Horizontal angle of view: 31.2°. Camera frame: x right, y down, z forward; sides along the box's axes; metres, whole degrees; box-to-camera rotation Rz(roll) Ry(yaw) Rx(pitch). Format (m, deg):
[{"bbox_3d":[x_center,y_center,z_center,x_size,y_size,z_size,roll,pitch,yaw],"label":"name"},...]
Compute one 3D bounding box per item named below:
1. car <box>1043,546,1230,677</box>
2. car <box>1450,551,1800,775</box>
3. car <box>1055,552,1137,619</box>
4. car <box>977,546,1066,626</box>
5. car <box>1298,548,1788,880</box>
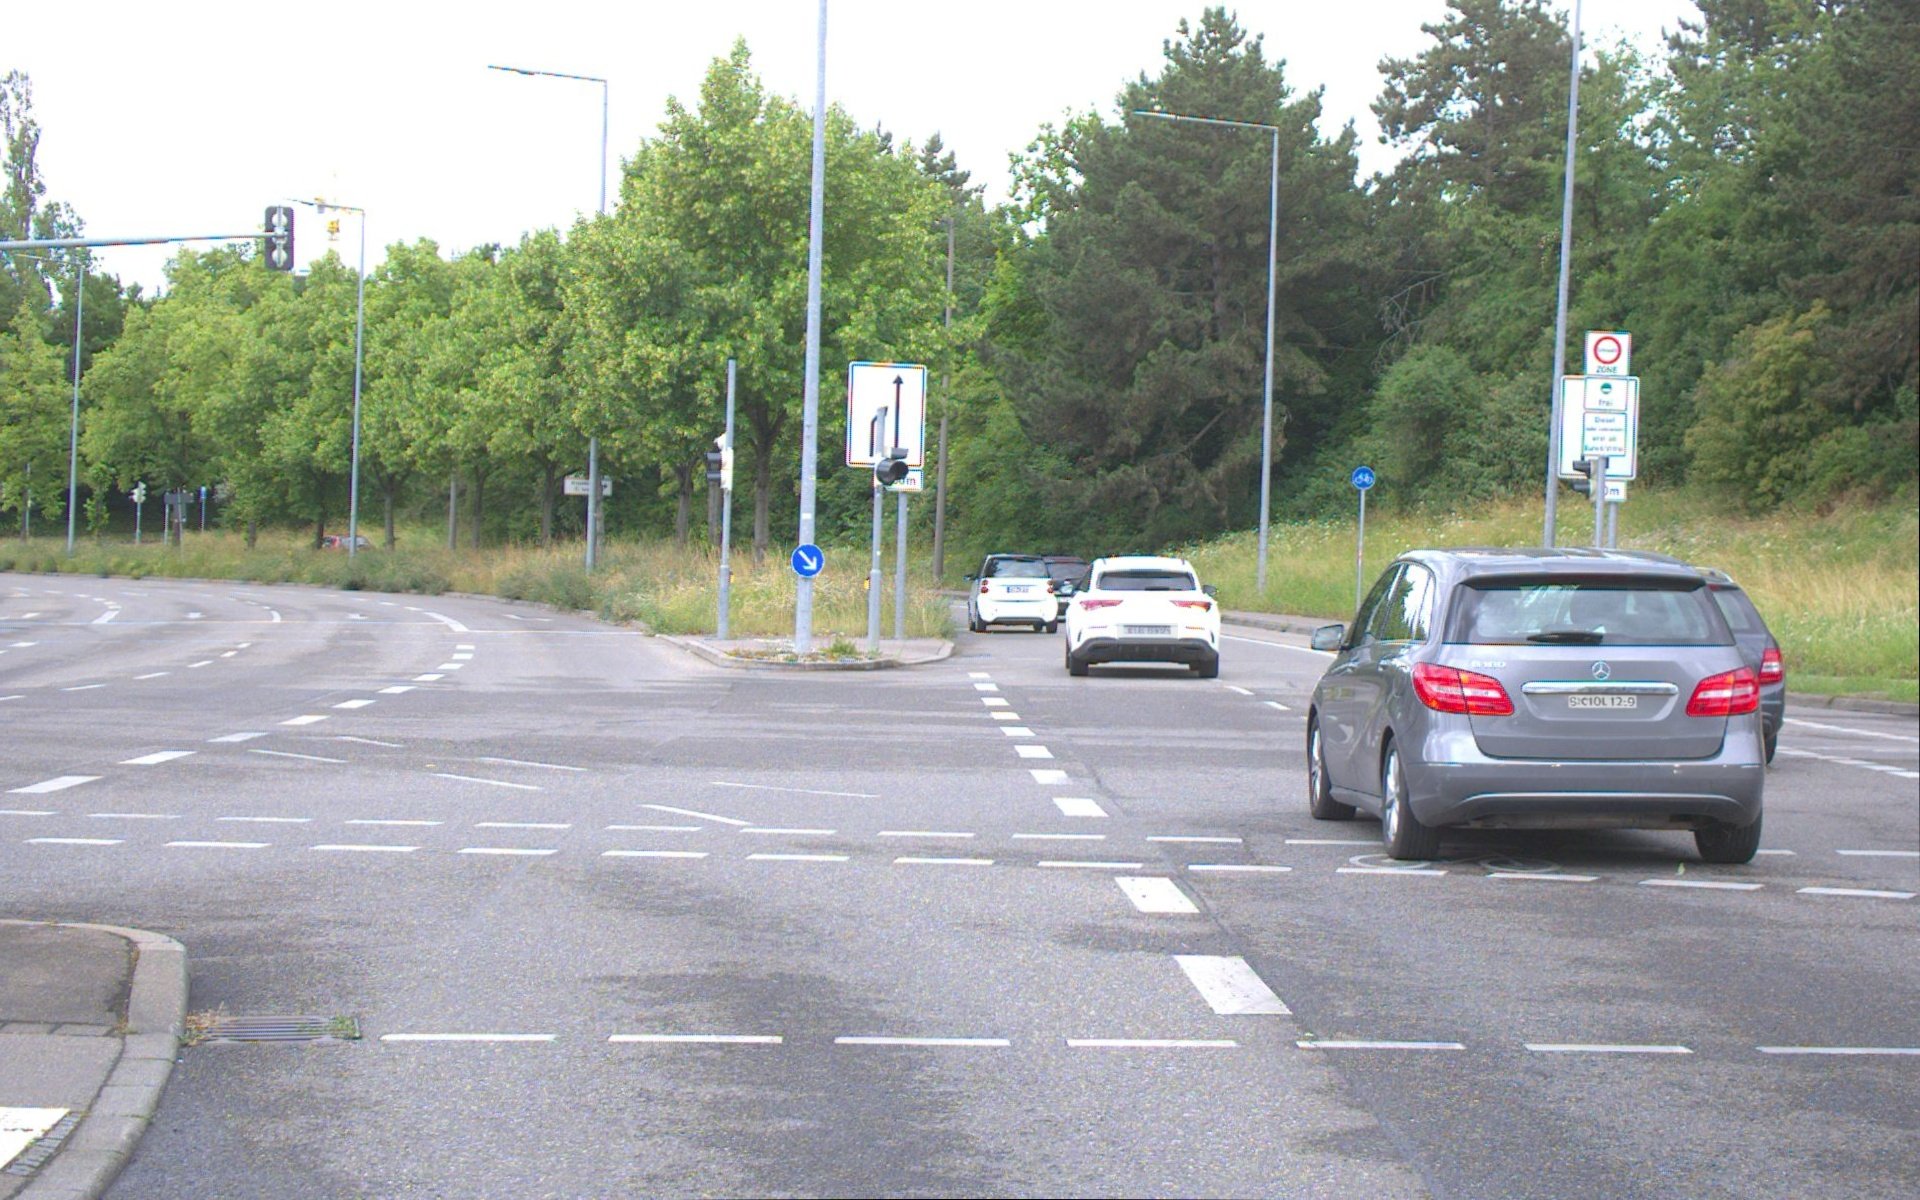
[{"bbox_3d":[2.124,0.115,42.536,1.844,1.501,4.531,1,0,-3],"label":"car"},{"bbox_3d":[4.955,0.409,26.202,1.746,1.480,4.356,1,2,-1],"label":"car"},{"bbox_3d":[3.021,-0.334,76.965,1.613,1.448,3.882,1,0,0],"label":"car"},{"bbox_3d":[1.177,-0.273,67.072,1.592,1.511,2.767,1,0,-1],"label":"car"},{"bbox_3d":[2.878,0.493,17.813,1.746,1.503,4.048,1,1,-1],"label":"car"}]
